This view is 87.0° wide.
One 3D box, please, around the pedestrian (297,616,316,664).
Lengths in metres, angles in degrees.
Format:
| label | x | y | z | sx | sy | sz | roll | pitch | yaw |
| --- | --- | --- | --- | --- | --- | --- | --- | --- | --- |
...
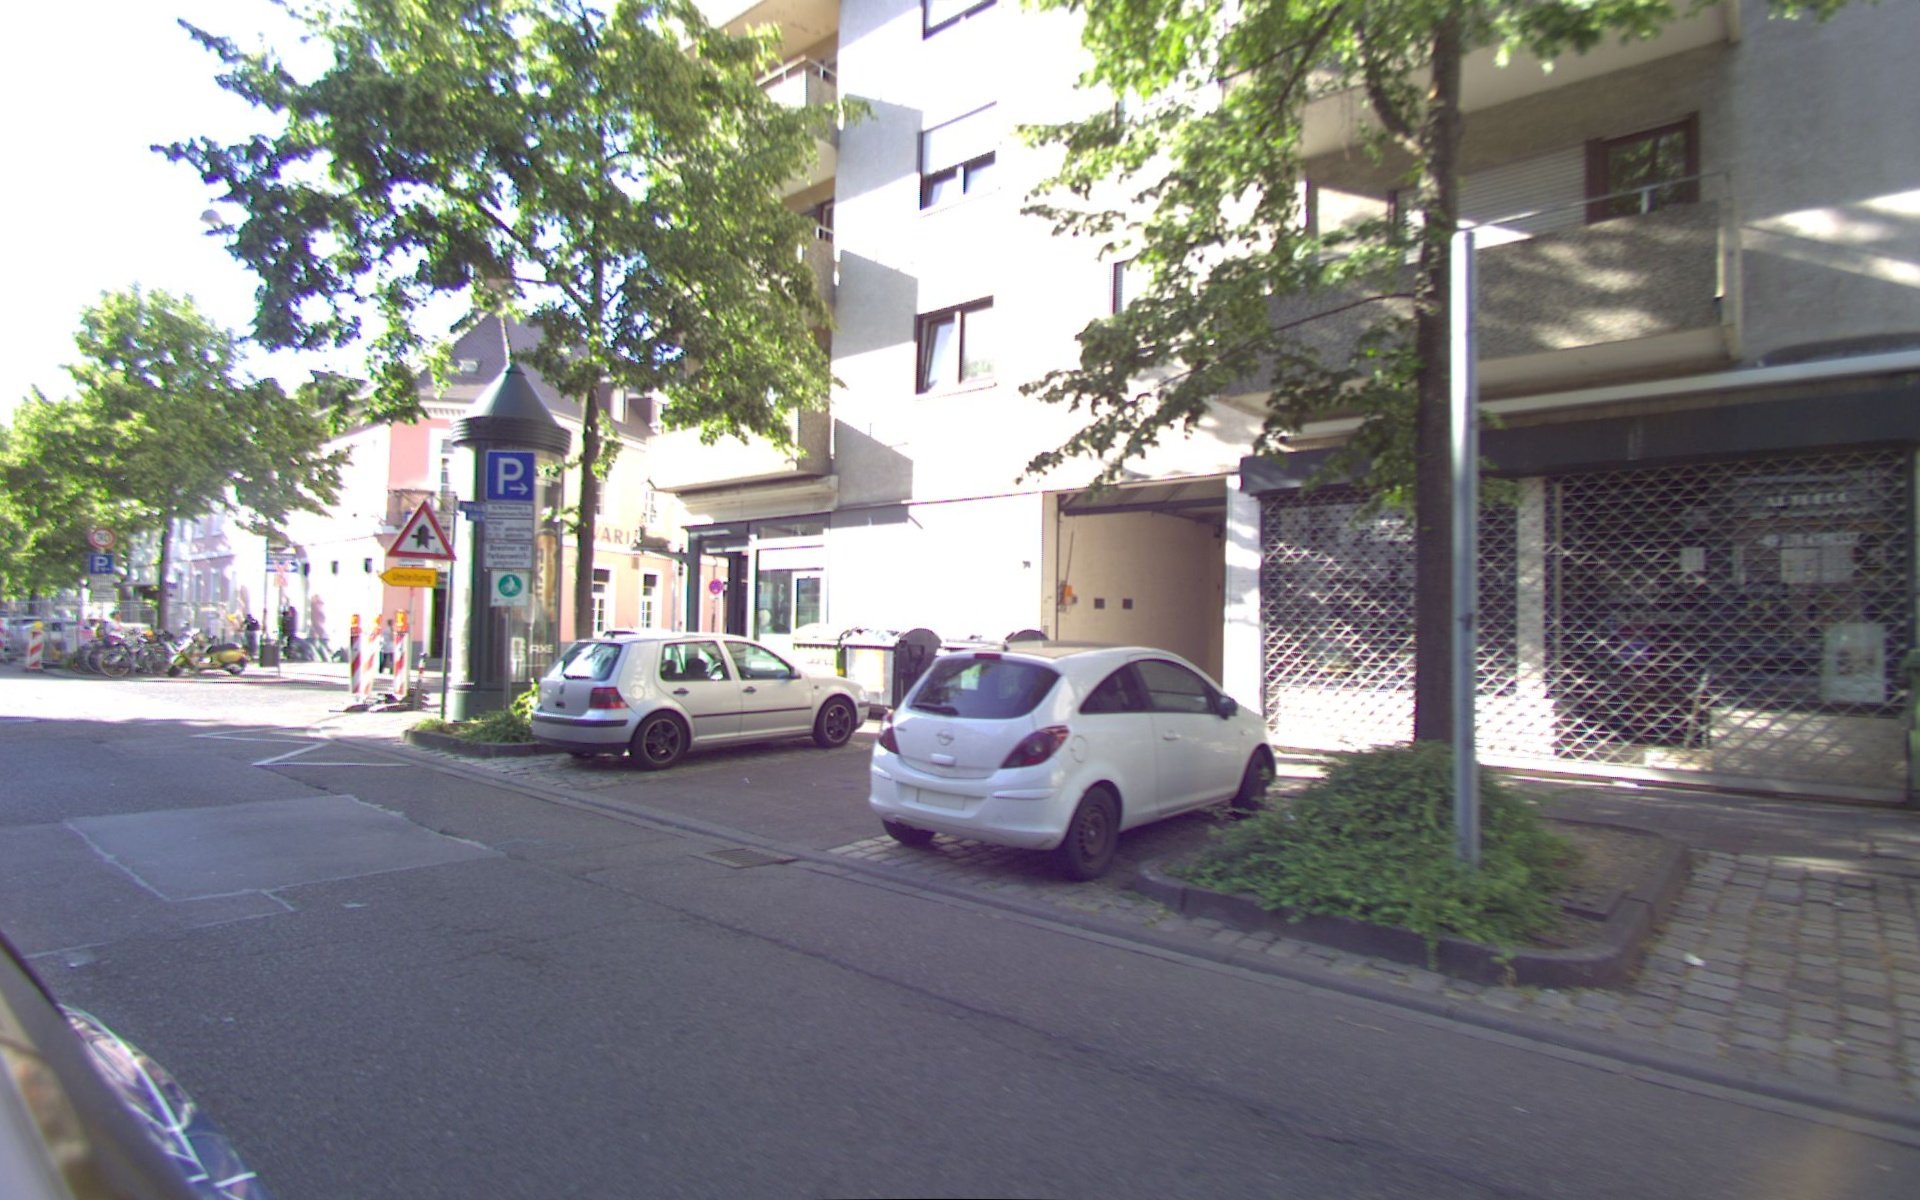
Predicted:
| label | x | y | z | sx | sy | sz | roll | pitch | yaw |
| --- | --- | --- | --- | --- | --- | --- | --- | --- | --- |
| pedestrian | -23.711 | 1.455 | 36.709 | 0.509 | 1.740 | 0.526 | 3 | -3 | -32 |

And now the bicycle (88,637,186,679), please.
| label | x | y | z | sx | sy | sz | roll | pitch | yaw |
| --- | --- | --- | --- | --- | --- | --- | --- | --- | --- |
| bicycle | -21.630 | 1.505 | 26.645 | 0.471 | 1.037 | 1.987 | -1 | -1 | 27 |

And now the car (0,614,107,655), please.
| label | x | y | z | sx | sy | sz | roll | pitch | yaw |
| --- | --- | --- | --- | --- | --- | --- | --- | --- | --- |
| car | -39.985 | 1.502 | 44.037 | 1.998 | 1.693 | 4.082 | -1 | -3 | 39 |

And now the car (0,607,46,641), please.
| label | x | y | z | sx | sy | sz | roll | pitch | yaw |
| --- | --- | --- | --- | --- | --- | --- | --- | --- | --- |
| car | -51.892 | 1.286 | 54.207 | 1.910 | 1.816 | 4.082 | -1 | -3 | 39 |

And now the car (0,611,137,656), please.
| label | x | y | z | sx | sy | sz | roll | pitch | yaw |
| --- | --- | --- | --- | --- | --- | --- | --- | --- | --- |
| car | -35.739 | 1.355 | 40.455 | 1.998 | 1.693 | 4.082 | -1 | -3 | 39 |

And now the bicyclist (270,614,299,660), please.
| label | x | y | z | sx | sy | sz | roll | pitch | yaw |
| --- | --- | --- | --- | --- | --- | --- | --- | --- | --- |
| bicyclist | -22.779 | 1.242 | 34.121 | 0.751 | 1.515 | 0.563 | 1 | -2 | 41 |

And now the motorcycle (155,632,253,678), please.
| label | x | y | z | sx | sy | sz | roll | pitch | yaw |
| --- | --- | --- | --- | --- | --- | --- | --- | --- | --- |
| motorcycle | -20.174 | 1.448 | 27.022 | 0.740 | 1.194 | 1.977 | -2 | -3 | 43 |

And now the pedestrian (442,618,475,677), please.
| label | x | y | z | sx | sy | sz | roll | pitch | yaw |
| --- | --- | --- | --- | --- | --- | --- | --- | --- | --- |
| pedestrian | -14.846 | 1.404 | 29.954 | 0.579 | 1.740 | 0.622 | -1 | -4 | 38 |

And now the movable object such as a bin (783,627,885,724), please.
| label | x | y | z | sx | sy | sz | roll | pitch | yaw |
| --- | --- | --- | --- | --- | --- | --- | --- | --- | --- |
| movable object such as a bin | -2.024 | 1.189 | 16.270 | 1.258 | 1.471 | 1.022 | -2 | -4 | 42 |

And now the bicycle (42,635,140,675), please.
| label | x | y | z | sx | sy | sz | roll | pitch | yaw |
| --- | --- | --- | --- | --- | --- | --- | --- | --- | --- |
| bicycle | -23.814 | 1.496 | 27.773 | 0.471 | 1.037 | 1.987 | -1 | -1 | 27 |

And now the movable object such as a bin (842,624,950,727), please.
| label | x | y | z | sx | sy | sz | roll | pitch | yaw |
| --- | --- | --- | --- | --- | --- | --- | --- | --- | --- |
| movable object such as a bin | -0.974 | 1.124 | 15.327 | 1.258 | 1.471 | 1.022 | -2 | -4 | 42 |

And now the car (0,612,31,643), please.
| label | x | y | z | sx | sy | sz | roll | pitch | yaw |
| --- | --- | --- | --- | --- | --- | --- | --- | --- | --- |
| car | -57.713 | 1.584 | 59.674 | 1.910 | 1.816 | 4.082 | -1 | -3 | 39 |

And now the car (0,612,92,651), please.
| label | x | y | z | sx | sy | sz | roll | pitch | yaw |
| --- | --- | --- | --- | --- | --- | --- | --- | --- | --- |
| car | -41.926 | 1.422 | 45.510 | 1.998 | 1.693 | 4.082 | -1 | -3 | 39 |

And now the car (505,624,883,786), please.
| label | x | y | z | sx | sy | sz | roll | pitch | yaw |
| --- | --- | --- | --- | --- | --- | --- | --- | --- | --- |
| car | -2.912 | 1.053 | 11.741 | 1.748 | 1.475 | 3.956 | 1 | 0 | 40 |

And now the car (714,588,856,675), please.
| label | x | y | z | sx | sy | sz | roll | pitch | yaw |
| --- | --- | --- | --- | --- | --- | --- | --- | --- | --- |
| car | -5.644 | 1.105 | 33.823 | 2.204 | 2.601 | 6.475 | 0 | -3 | 14 |

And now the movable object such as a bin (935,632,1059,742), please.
| label | x | y | z | sx | sy | sz | roll | pitch | yaw |
| --- | --- | --- | --- | --- | --- | --- | --- | --- | --- |
| movable object such as a bin | 0.510 | 1.182 | 14.127 | 1.351 | 1.426 | 1.066 | -2 | -4 | 42 |

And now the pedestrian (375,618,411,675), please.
| label | x | y | z | sx | sy | sz | roll | pitch | yaw |
| --- | --- | --- | --- | --- | --- | --- | --- | --- | --- |
| pedestrian | -16.373 | 1.346 | 29.206 | 0.862 | 1.614 | 0.641 | -2 | -3 | 41 |

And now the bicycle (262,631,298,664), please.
| label | x | y | z | sx | sy | sz | roll | pitch | yaw |
| --- | --- | --- | --- | --- | --- | --- | --- | --- | --- |
| bicycle | -23.110 | 1.605 | 34.378 | 1.650 | 1.096 | 0.563 | -2 | -4 | 41 |

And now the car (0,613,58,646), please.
| label | x | y | z | sx | sy | sz | roll | pitch | yaw |
| --- | --- | --- | --- | --- | --- | --- | --- | --- | --- |
| car | -48.170 | 1.471 | 50.762 | 1.910 | 1.606 | 4.082 | -1 | -3 | 39 |

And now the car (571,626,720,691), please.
| label | x | y | z | sx | sy | sz | roll | pitch | yaw |
| --- | --- | --- | --- | --- | --- | --- | --- | --- | --- |
| car | -7.882 | 1.470 | 25.710 | 1.889 | 1.488 | 3.581 | 0 | -3 | 18 |

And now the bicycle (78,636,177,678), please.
| label | x | y | z | sx | sy | sz | roll | pitch | yaw |
| --- | --- | --- | --- | --- | --- | --- | --- | --- | --- |
| bicycle | -22.095 | 1.502 | 26.910 | 0.471 | 1.037 | 1.987 | -1 | -1 | 27 |

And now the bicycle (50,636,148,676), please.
| label | x | y | z | sx | sy | sz | roll | pitch | yaw |
| --- | --- | --- | --- | --- | --- | --- | --- | --- | --- |
| bicycle | -23.386 | 1.504 | 27.533 | 0.471 | 1.037 | 1.987 | -1 | -1 | 27 |

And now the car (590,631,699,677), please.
| label | x | y | z | sx | sy | sz | roll | pitch | yaw |
| --- | --- | --- | --- | --- | --- | --- | --- | --- | --- |
| car | -10.903 | 1.869 | 35.225 | 1.983 | 1.488 | 3.583 | 0 | -3 | 17 |

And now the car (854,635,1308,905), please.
| label | x | y | z | sx | sy | sz | roll | pitch | yaw |
| --- | --- | --- | --- | --- | --- | --- | --- | --- | --- |
| car | 1.121 | 1.007 | 7.591 | 1.708 | 1.475 | 3.742 | -1 | -2 | 38 |

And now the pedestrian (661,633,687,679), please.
| label | x | y | z | sx | sy | sz | roll | pitch | yaw |
| --- | --- | --- | --- | --- | --- | --- | --- | --- | --- |
| pedestrian | -11.098 | 2.173 | 39.283 | 0.701 | 1.764 | 0.631 | 0 | -3 | 18 |

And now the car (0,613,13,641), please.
| label | x | y | z | sx | sy | sz | roll | pitch | yaw |
| --- | --- | --- | --- | --- | --- | --- | --- | --- | --- |
| car | -64.860 | 1.717 | 66.119 | 1.910 | 1.816 | 4.082 | -1 | -3 | 39 |

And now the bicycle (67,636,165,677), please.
| label | x | y | z | sx | sy | sz | roll | pitch | yaw |
| --- | --- | --- | --- | --- | --- | --- | --- | --- | --- |
| bicycle | -22.566 | 1.497 | 27.104 | 0.471 | 1.037 | 1.987 | -1 | -1 | 27 |

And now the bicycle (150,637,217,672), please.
| label | x | y | z | sx | sy | sz | roll | pitch | yaw |
| --- | --- | --- | --- | --- | --- | --- | --- | --- | --- |
| bicycle | -21.769 | 1.528 | 28.375 | 1.493 | 0.958 | 0.360 | 0 | -1 | -8 |

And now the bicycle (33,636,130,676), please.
| label | x | y | z | sx | sy | sz | roll | pitch | yaw |
| --- | --- | --- | --- | --- | --- | --- | --- | --- | --- |
| bicycle | -24.262 | 1.519 | 27.997 | 0.471 | 1.037 | 1.987 | -1 | -1 | 27 |

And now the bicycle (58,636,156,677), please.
| label | x | y | z | sx | sy | sz | roll | pitch | yaw |
| --- | --- | --- | --- | --- | --- | --- | --- | --- | --- |
| bicycle | -23.004 | 1.506 | 27.330 | 0.471 | 1.037 | 1.987 | -1 | -1 | 27 |

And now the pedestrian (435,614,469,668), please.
| label | x | y | z | sx | sy | sz | roll | pitch | yaw |
| --- | --- | --- | --- | --- | --- | --- | --- | --- | --- |
| pedestrian | -15.805 | 1.277 | 31.472 | 0.698 | 1.675 | 0.579 | 1 | -3 | 4 |
